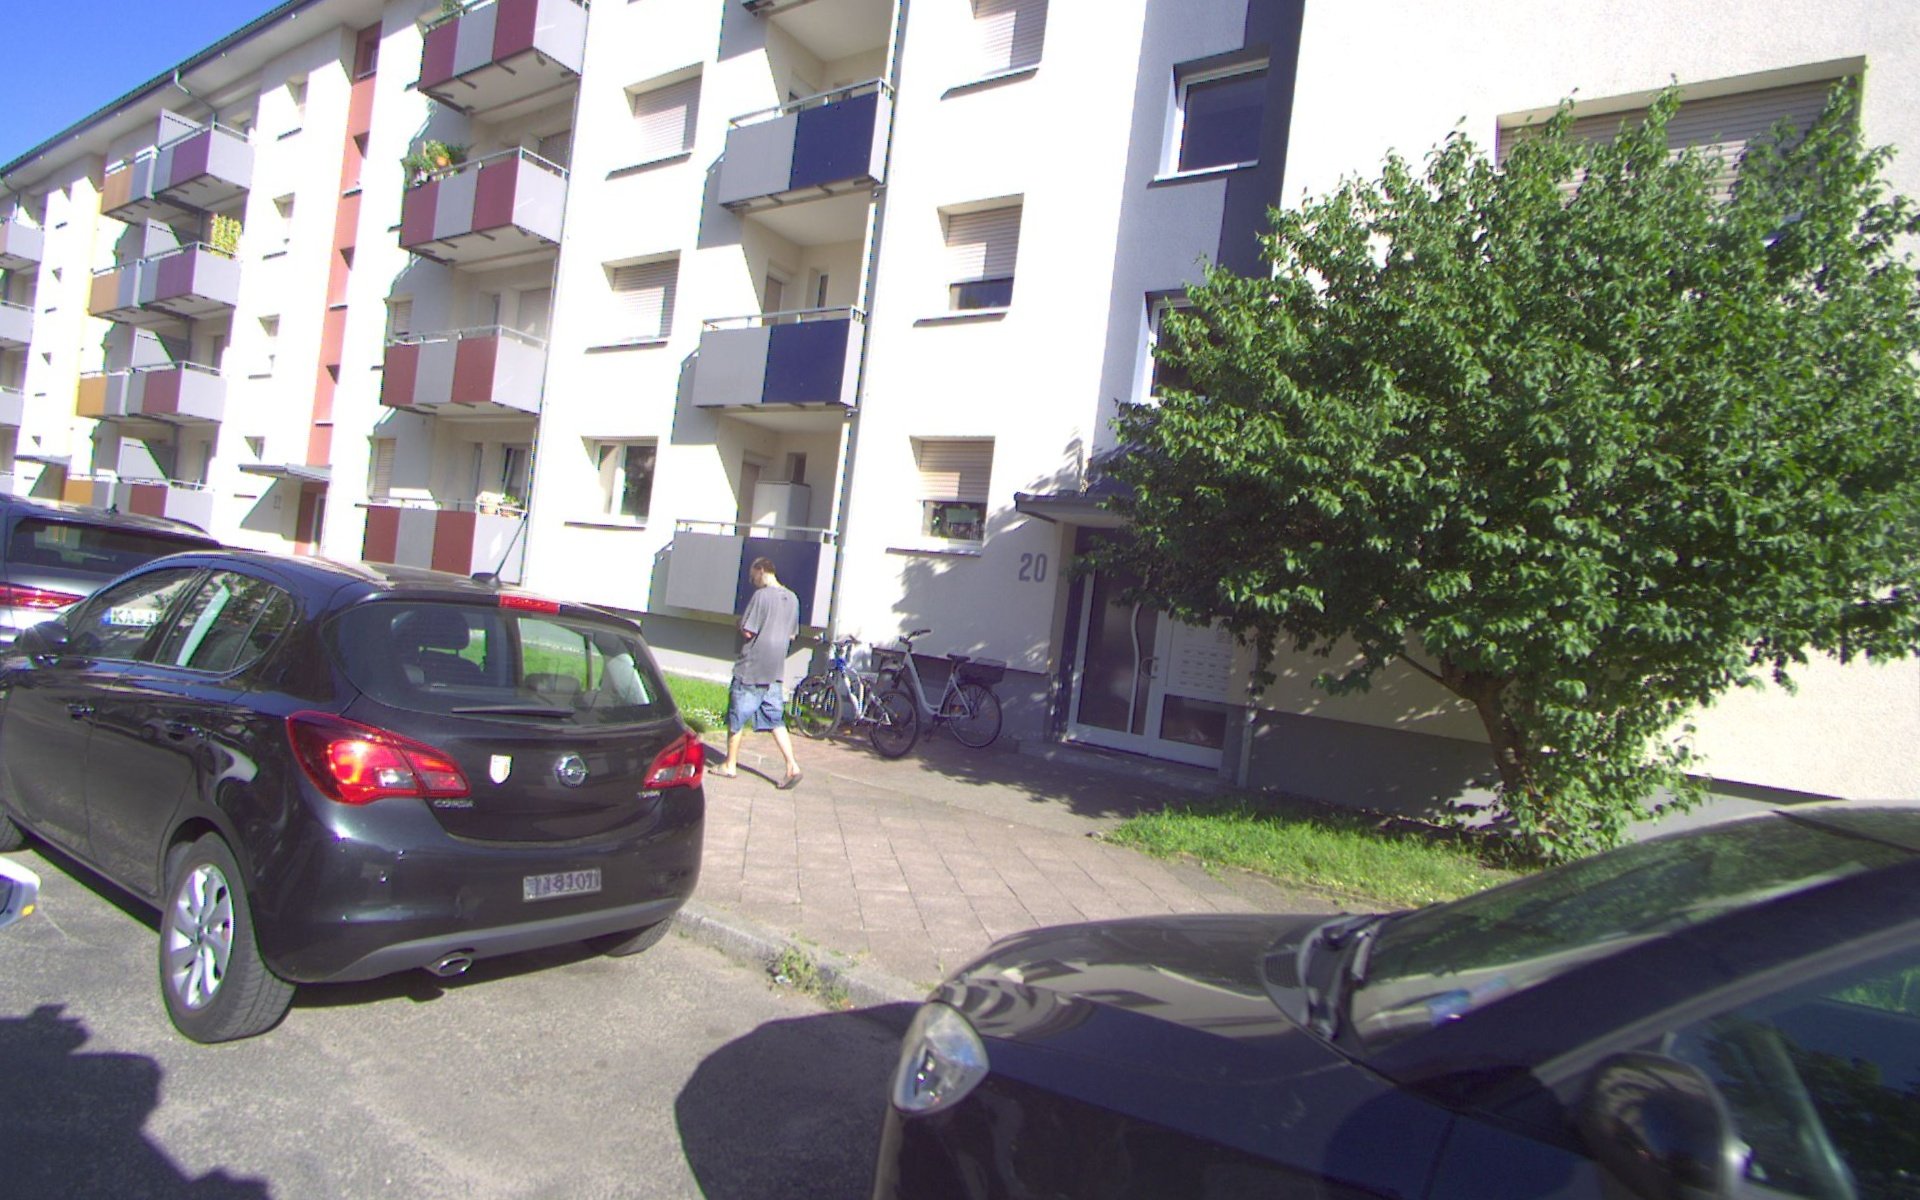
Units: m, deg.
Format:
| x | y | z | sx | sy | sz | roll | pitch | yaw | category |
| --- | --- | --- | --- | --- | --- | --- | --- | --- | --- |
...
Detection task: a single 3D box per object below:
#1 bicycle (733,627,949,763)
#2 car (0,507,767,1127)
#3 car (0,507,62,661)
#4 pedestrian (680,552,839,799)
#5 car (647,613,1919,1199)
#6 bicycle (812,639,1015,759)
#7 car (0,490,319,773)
| x | y | z | sx | sy | sz | roll | pitch | yaw | category |
| --- | --- | --- | --- | --- | --- | --- | --- | --- | --- |
| -1.235 | 0.917 | 10.118 | 2.246 | 1.024 | 0.485 | 6 | 0 | 31 | bicycle |
| -2.822 | 0.523 | 4.291 | 3.736 | 1.502 | 1.607 | 6 | -2 | 33 | car |
| -11.453 | -0.386 | 10.657 | 4.013 | 1.498 | 1.755 | 6 | -2 | 32 | car |
| -1.576 | 0.577 | 7.933 | 0.827 | 1.792 | 0.646 | 6 | -1 | 34 | pedestrian |
| 1.544 | 1.037 | 1.499 | 4.019 | 1.567 | 1.620 | 6 | -1 | 33 | car |
| -0.551 | 1.042 | 11.008 | 2.246 | 0.972 | 0.485 | 6 | 0 | 31 | bicycle |
| -6.739 | 0.072 | 7.323 | 4.185 | 1.577 | 1.755 | 6 | -2 | 32 | car |
